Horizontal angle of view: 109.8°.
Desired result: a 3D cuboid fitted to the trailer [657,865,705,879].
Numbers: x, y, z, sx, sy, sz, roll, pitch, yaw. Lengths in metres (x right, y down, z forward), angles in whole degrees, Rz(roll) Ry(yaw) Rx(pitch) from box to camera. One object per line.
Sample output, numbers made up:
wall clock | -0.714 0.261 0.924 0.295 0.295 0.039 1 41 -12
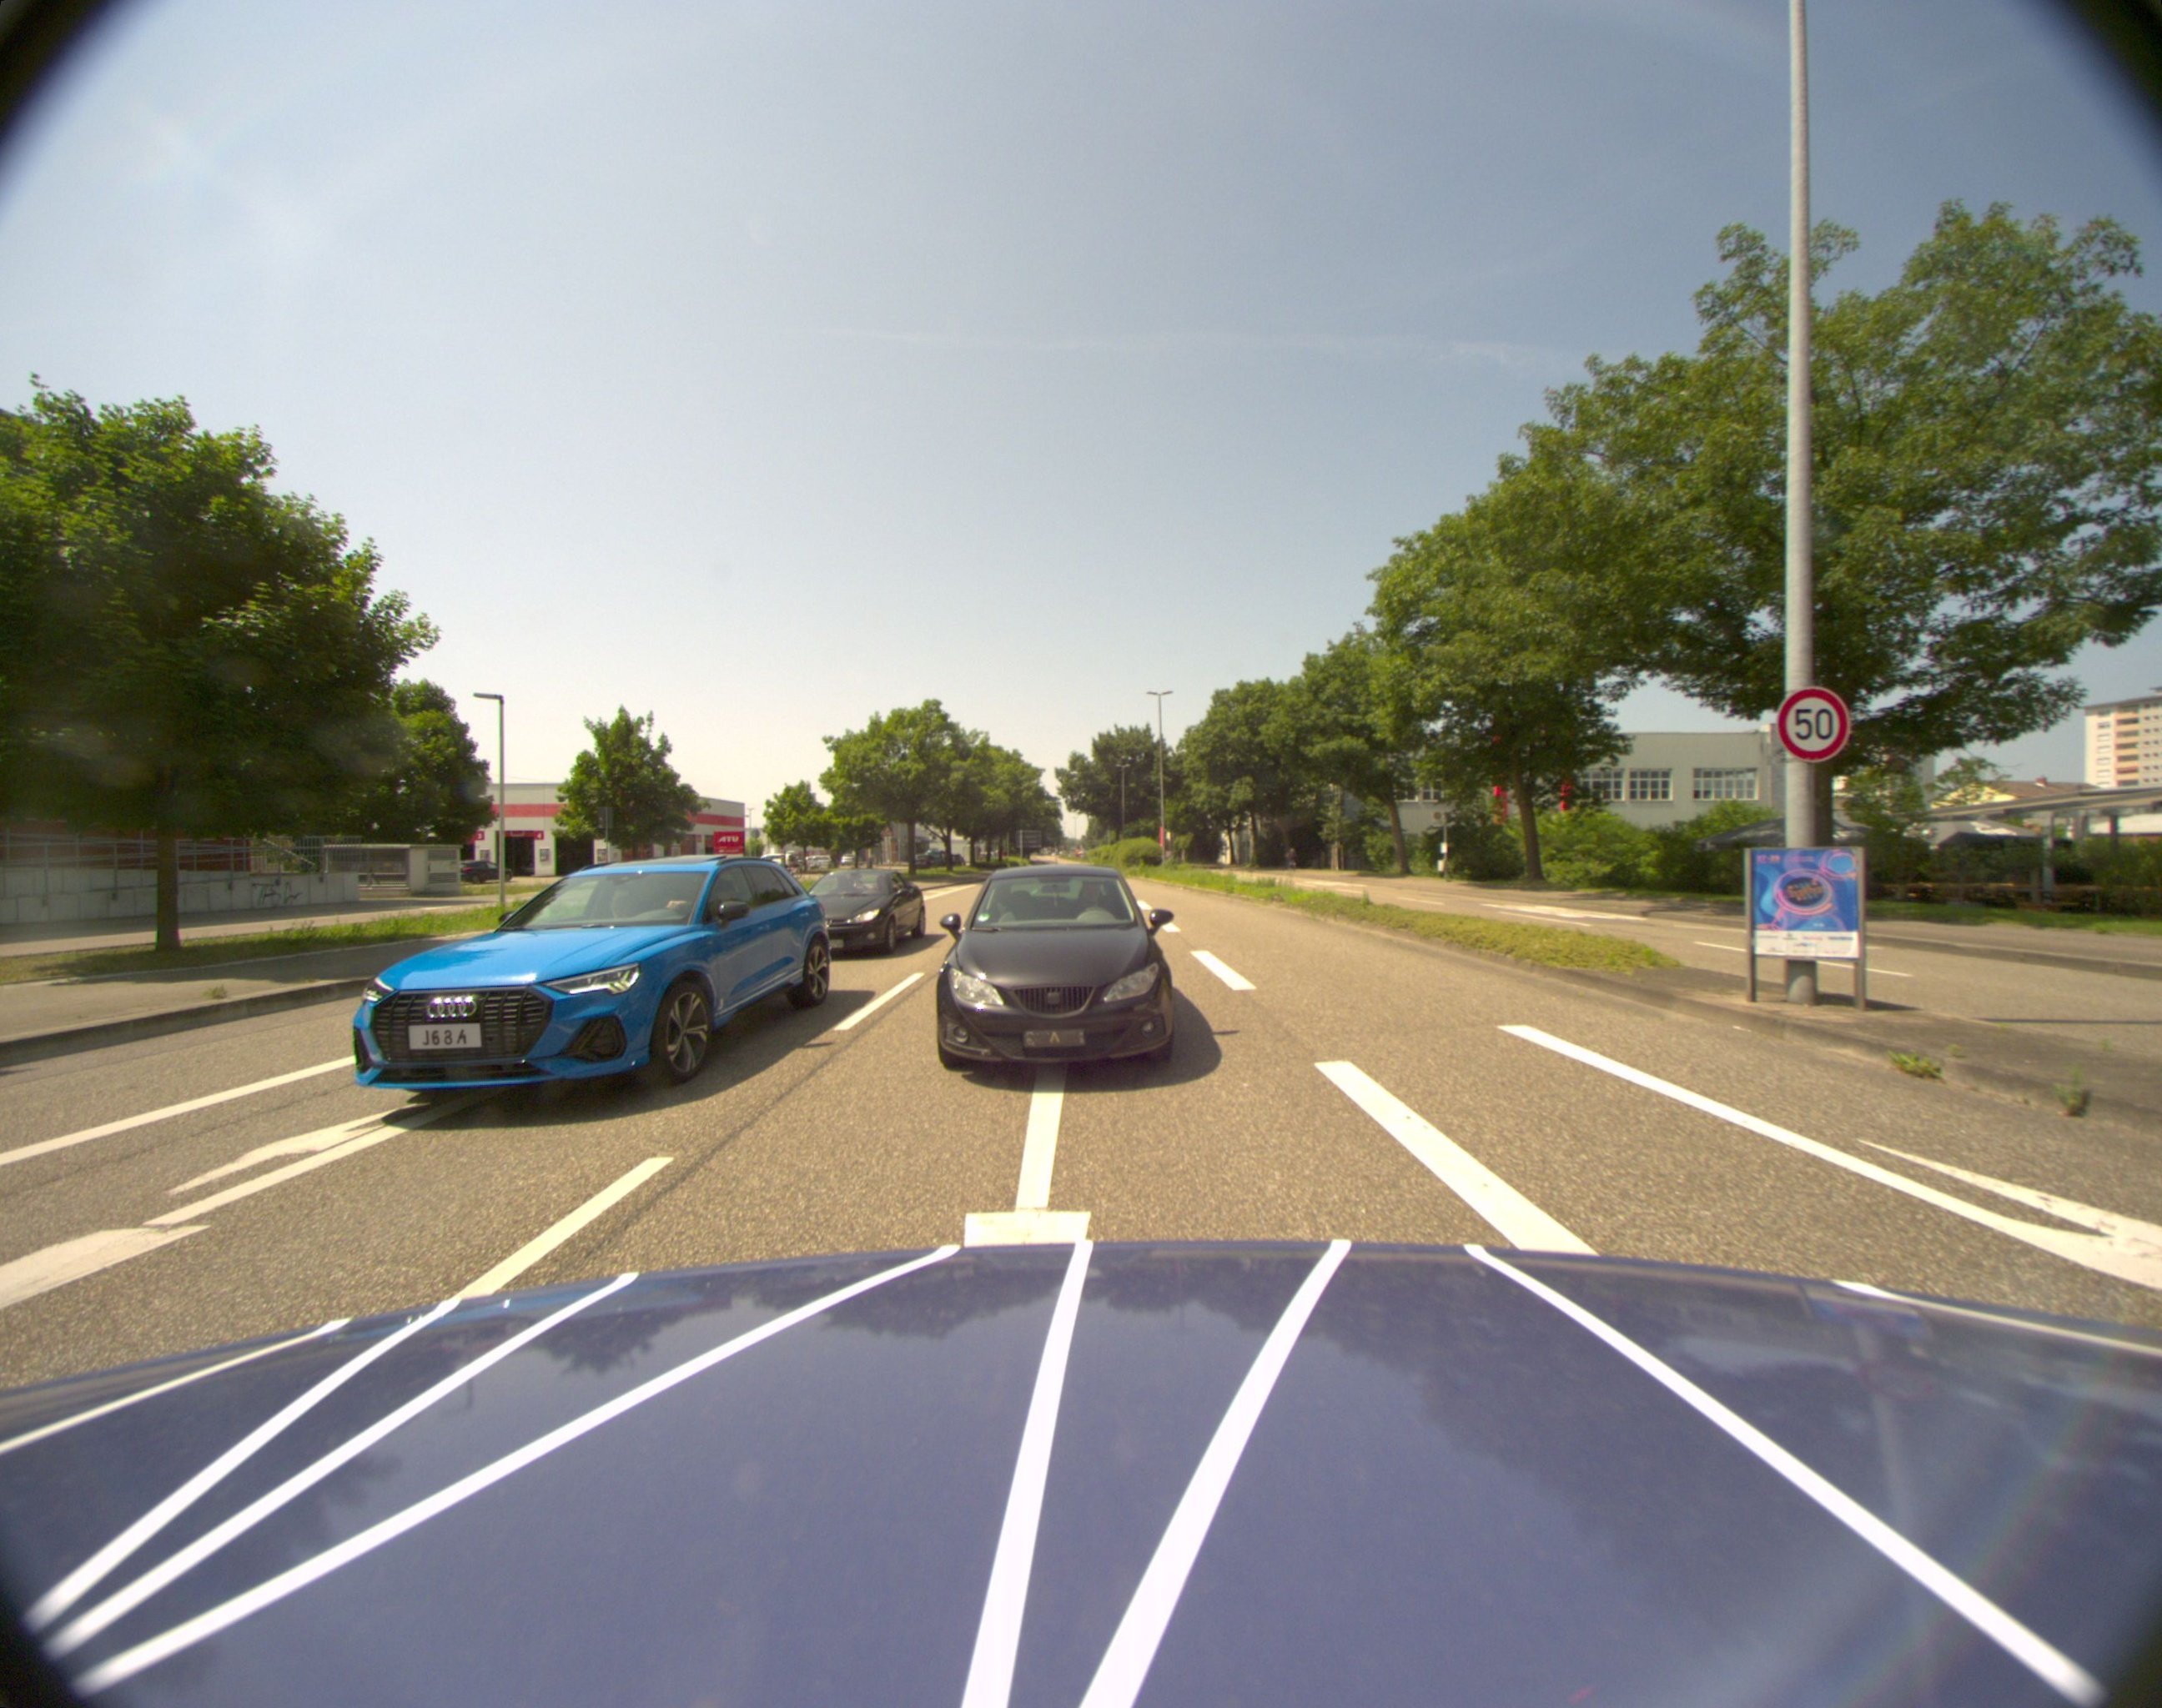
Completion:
trailer | -23.768 1.051 45.181 2.137 0.757 1.267 -1 0 2

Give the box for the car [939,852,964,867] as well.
car | -12.904 0.535 76.031 1.719 1.511 4.000 0 0 1

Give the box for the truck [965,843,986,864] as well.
truck | -13.023 -0.053 93.930 1.904 2.552 4.000 0 0 2

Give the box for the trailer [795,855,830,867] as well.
trailer | -24.354 0.621 68.913 2.642 1.046 1.577 0 0 -2

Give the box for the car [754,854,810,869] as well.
car | -25.232 0.629 64.244 3.998 1.201 1.747 0 0 -3

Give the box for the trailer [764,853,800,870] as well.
trailer | -27.044 0.656 68.789 2.642 1.519 1.414 0 1 -2

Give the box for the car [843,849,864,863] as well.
car | -26.922 0.235 89.971 1.759 1.586 3.997 0 0 -6

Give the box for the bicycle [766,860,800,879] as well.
bicycle | -17.921 0.913 45.679 1.784 1.117 0.514 0 1 -6

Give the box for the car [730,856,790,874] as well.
car | -25.160 0.847 59.648 3.998 1.394 1.747 0 0 -2

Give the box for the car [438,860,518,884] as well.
car | -37.877 1.104 47.877 1.717 1.365 4.145 0 0 0

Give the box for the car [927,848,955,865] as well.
car | -13.025 0.219 70.856 1.719 1.458 4.000 0 0 1

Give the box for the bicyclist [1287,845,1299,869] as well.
bicyclist | 15.756 0.206 56.553 0.651 1.760 0.927 -1 1 1

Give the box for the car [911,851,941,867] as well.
car | -13.142 0.411 64.630 1.642 1.363 4.000 0 0 1

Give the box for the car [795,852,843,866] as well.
car | -24.659 0.454 71.589 3.998 1.293 1.689 0 0 -3

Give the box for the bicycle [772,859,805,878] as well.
bicycle | -18.099 0.889 47.039 1.784 1.117 0.514 0 1 -6

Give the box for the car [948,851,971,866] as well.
car | -13.100 0.468 82.206 1.719 1.504 4.000 0 0 1

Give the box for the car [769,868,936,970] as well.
car | -3.739 0.990 13.174 1.642 1.336 4.000 -2 0 0

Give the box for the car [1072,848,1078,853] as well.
car | -1.977 -1.193 242.846 1.998 1.692 4.000 0 0 0

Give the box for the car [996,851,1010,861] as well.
car | -12.363 0.340 120.361 1.719 1.458 4.000 0 0 1

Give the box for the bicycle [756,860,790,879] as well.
bicycle | -18.197 0.896 44.935 1.784 1.117 0.514 0 1 -6

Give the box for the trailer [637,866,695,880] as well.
trailer | -23.641 1.084 43.323 2.467 0.757 1.449 -1 0 2

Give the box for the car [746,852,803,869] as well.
car | -24.920 0.527 61.873 3.998 1.394 1.747 0 0 -3

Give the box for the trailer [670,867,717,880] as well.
trailer | -23.863 1.184 46.837 2.137 0.757 1.394 -1 0 2

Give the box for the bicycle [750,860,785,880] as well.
bicycle | -18.284 0.918 44.309 1.784 1.117 0.514 0 1 -6

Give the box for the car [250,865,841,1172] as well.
car | -3.665 0.948 6.427 1.842 1.586 4.399 -1 0 0

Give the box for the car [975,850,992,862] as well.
car | -12.759 0.258 99.766 1.719 1.458 4.000 0 0 1

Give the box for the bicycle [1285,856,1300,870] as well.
bicycle | 15.767 0.652 56.670 0.656 1.045 1.884 -1 1 1

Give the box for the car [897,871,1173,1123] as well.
car | -0.282 0.901 6.555 1.642 1.396 3.999 0 0 0

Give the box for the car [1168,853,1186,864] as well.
car | 12.257 0.546 97.370 1.722 1.255 4.301 2 1 0

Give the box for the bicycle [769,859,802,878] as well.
bicycle | -18.012 0.873 46.320 1.784 1.117 0.514 0 1 -6
